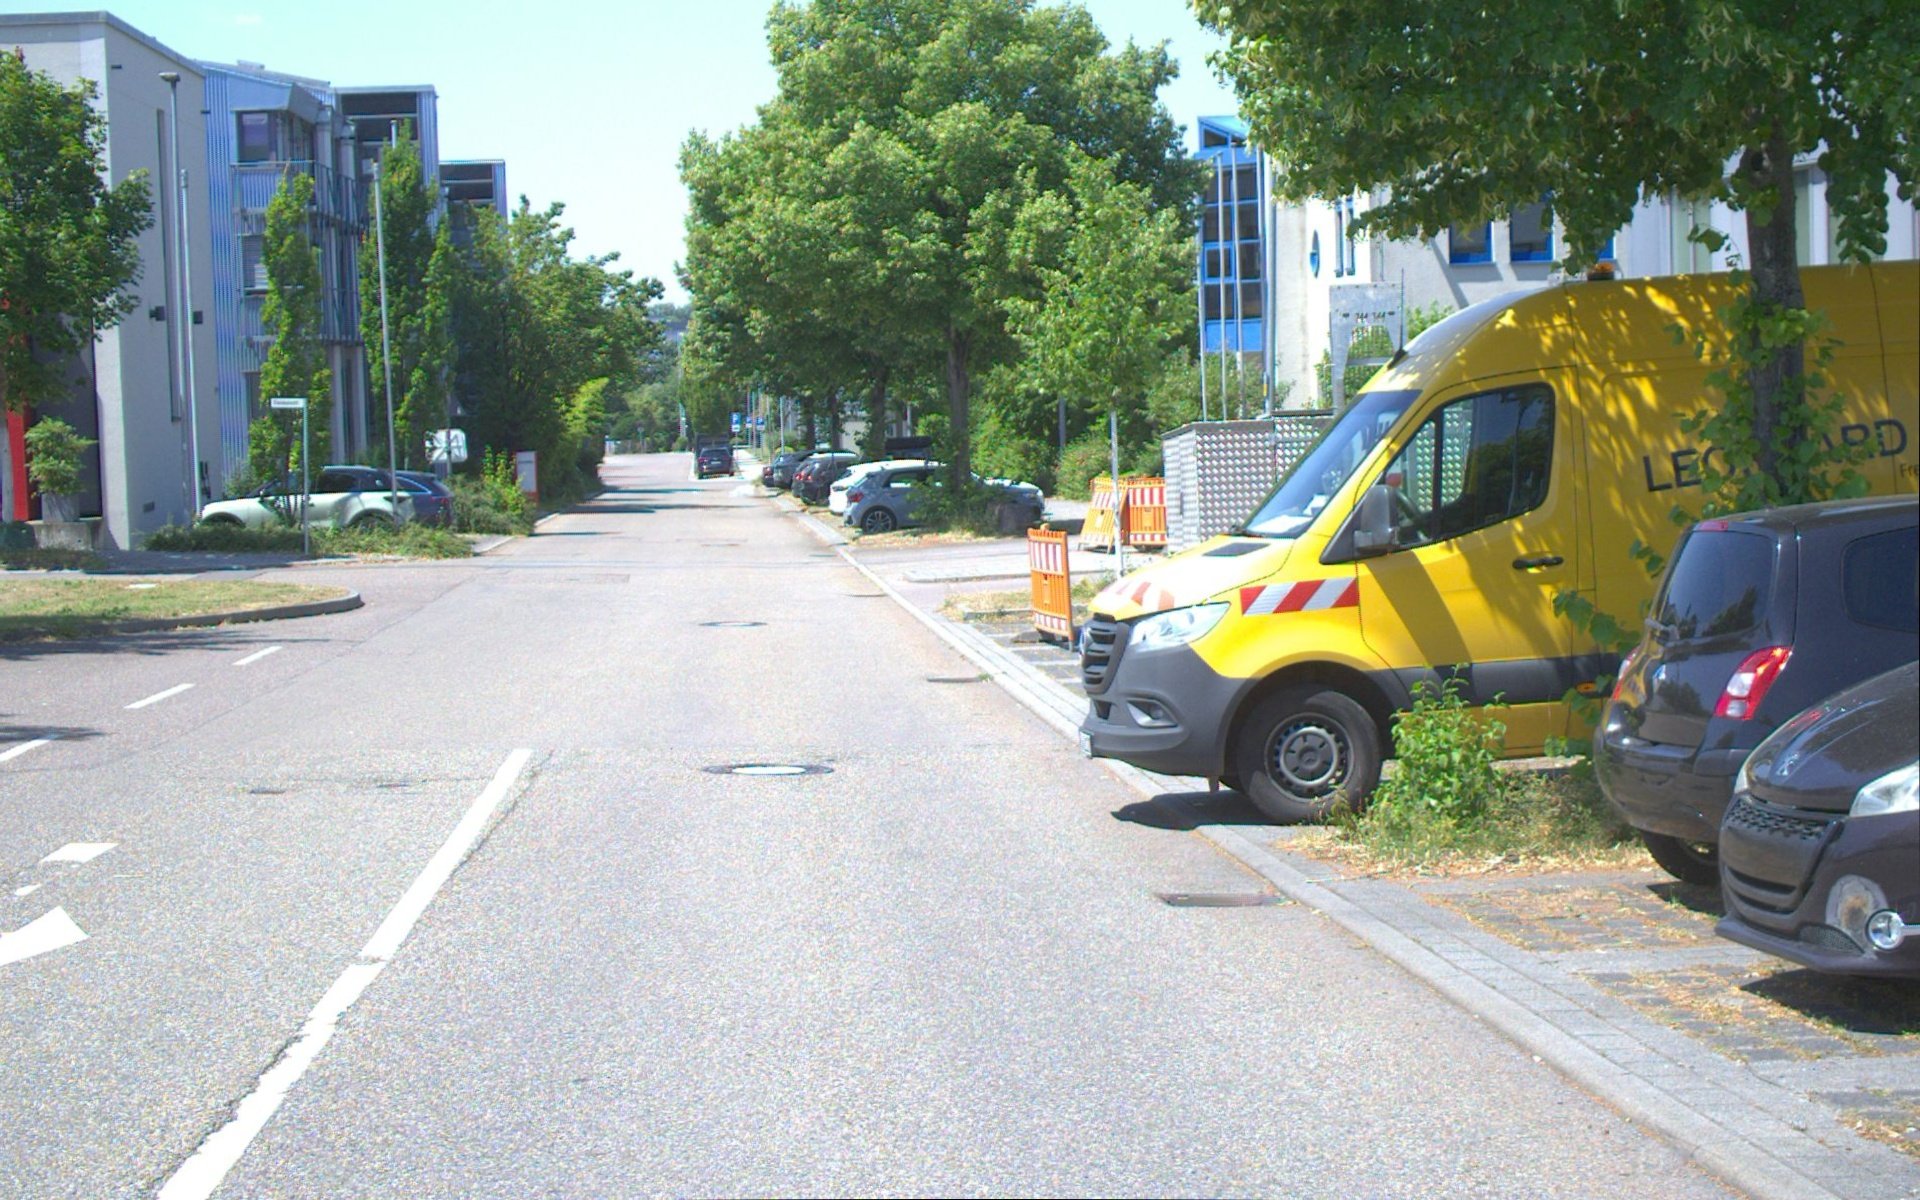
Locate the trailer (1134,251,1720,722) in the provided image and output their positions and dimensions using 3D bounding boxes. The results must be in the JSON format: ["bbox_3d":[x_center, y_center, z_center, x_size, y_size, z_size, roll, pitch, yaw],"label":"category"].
[{"bbox_3d":[3.168,-0.844,24.909,2.656,2.847,5.522,-4,3,-8],"label":"trailer"}]

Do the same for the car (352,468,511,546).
[{"bbox_3d":[-10.531,-1.867,68.468,3.057,1.473,1.293,-2,2,-10],"label":"car"}]

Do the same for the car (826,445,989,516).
[{"bbox_3d":[-1.222,-2.761,79.353,3.516,1.349,1.538,-5,3,-8],"label":"car"}]

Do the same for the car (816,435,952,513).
[{"bbox_3d":[-2.186,-3.601,98.280,3.721,2.103,1.814,-2,2,-4],"label":"car"}]

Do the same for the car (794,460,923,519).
[{"bbox_3d":[-3.018,-3.288,101.727,3.721,1.621,1.814,-2,2,-4],"label":"car"}]

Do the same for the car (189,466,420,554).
[{"bbox_3d":[-12.118,-1.677,63.765,4.045,1.489,1.729,-2,2,-6],"label":"car"}]

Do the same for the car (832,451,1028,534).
[{"bbox_3d":[-0.624,-2.185,69.670,3.678,1.349,1.646,-5,3,-8],"label":"car"}]

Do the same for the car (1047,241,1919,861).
[{"bbox_3d":[3.508,-0.359,17.575,5.778,2.723,2.001,-4,3,-5],"label":"car"}]

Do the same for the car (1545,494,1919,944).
[{"bbox_3d":[4.180,0.333,12.768,3.601,1.473,1.628,-3,2,-6],"label":"car"}]

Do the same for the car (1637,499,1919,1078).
[{"bbox_3d":[4.106,0.412,10.178,3.770,1.502,1.591,-3,2,-6],"label":"car"}]

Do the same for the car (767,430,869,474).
[{"bbox_3d":[-5.842,-6.087,141.249,3.930,1.572,1.768,-2,6,-11],"label":"car"}]

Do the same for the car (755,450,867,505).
[{"bbox_3d":[-5.587,-4.596,128.893,3.930,1.828,1.768,-2,6,-11],"label":"car"}]

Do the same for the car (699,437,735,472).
[{"bbox_3d":[-12.720,-7.623,180.063,1.761,1.749,3.945,-2,2,-3],"label":"car"}]
